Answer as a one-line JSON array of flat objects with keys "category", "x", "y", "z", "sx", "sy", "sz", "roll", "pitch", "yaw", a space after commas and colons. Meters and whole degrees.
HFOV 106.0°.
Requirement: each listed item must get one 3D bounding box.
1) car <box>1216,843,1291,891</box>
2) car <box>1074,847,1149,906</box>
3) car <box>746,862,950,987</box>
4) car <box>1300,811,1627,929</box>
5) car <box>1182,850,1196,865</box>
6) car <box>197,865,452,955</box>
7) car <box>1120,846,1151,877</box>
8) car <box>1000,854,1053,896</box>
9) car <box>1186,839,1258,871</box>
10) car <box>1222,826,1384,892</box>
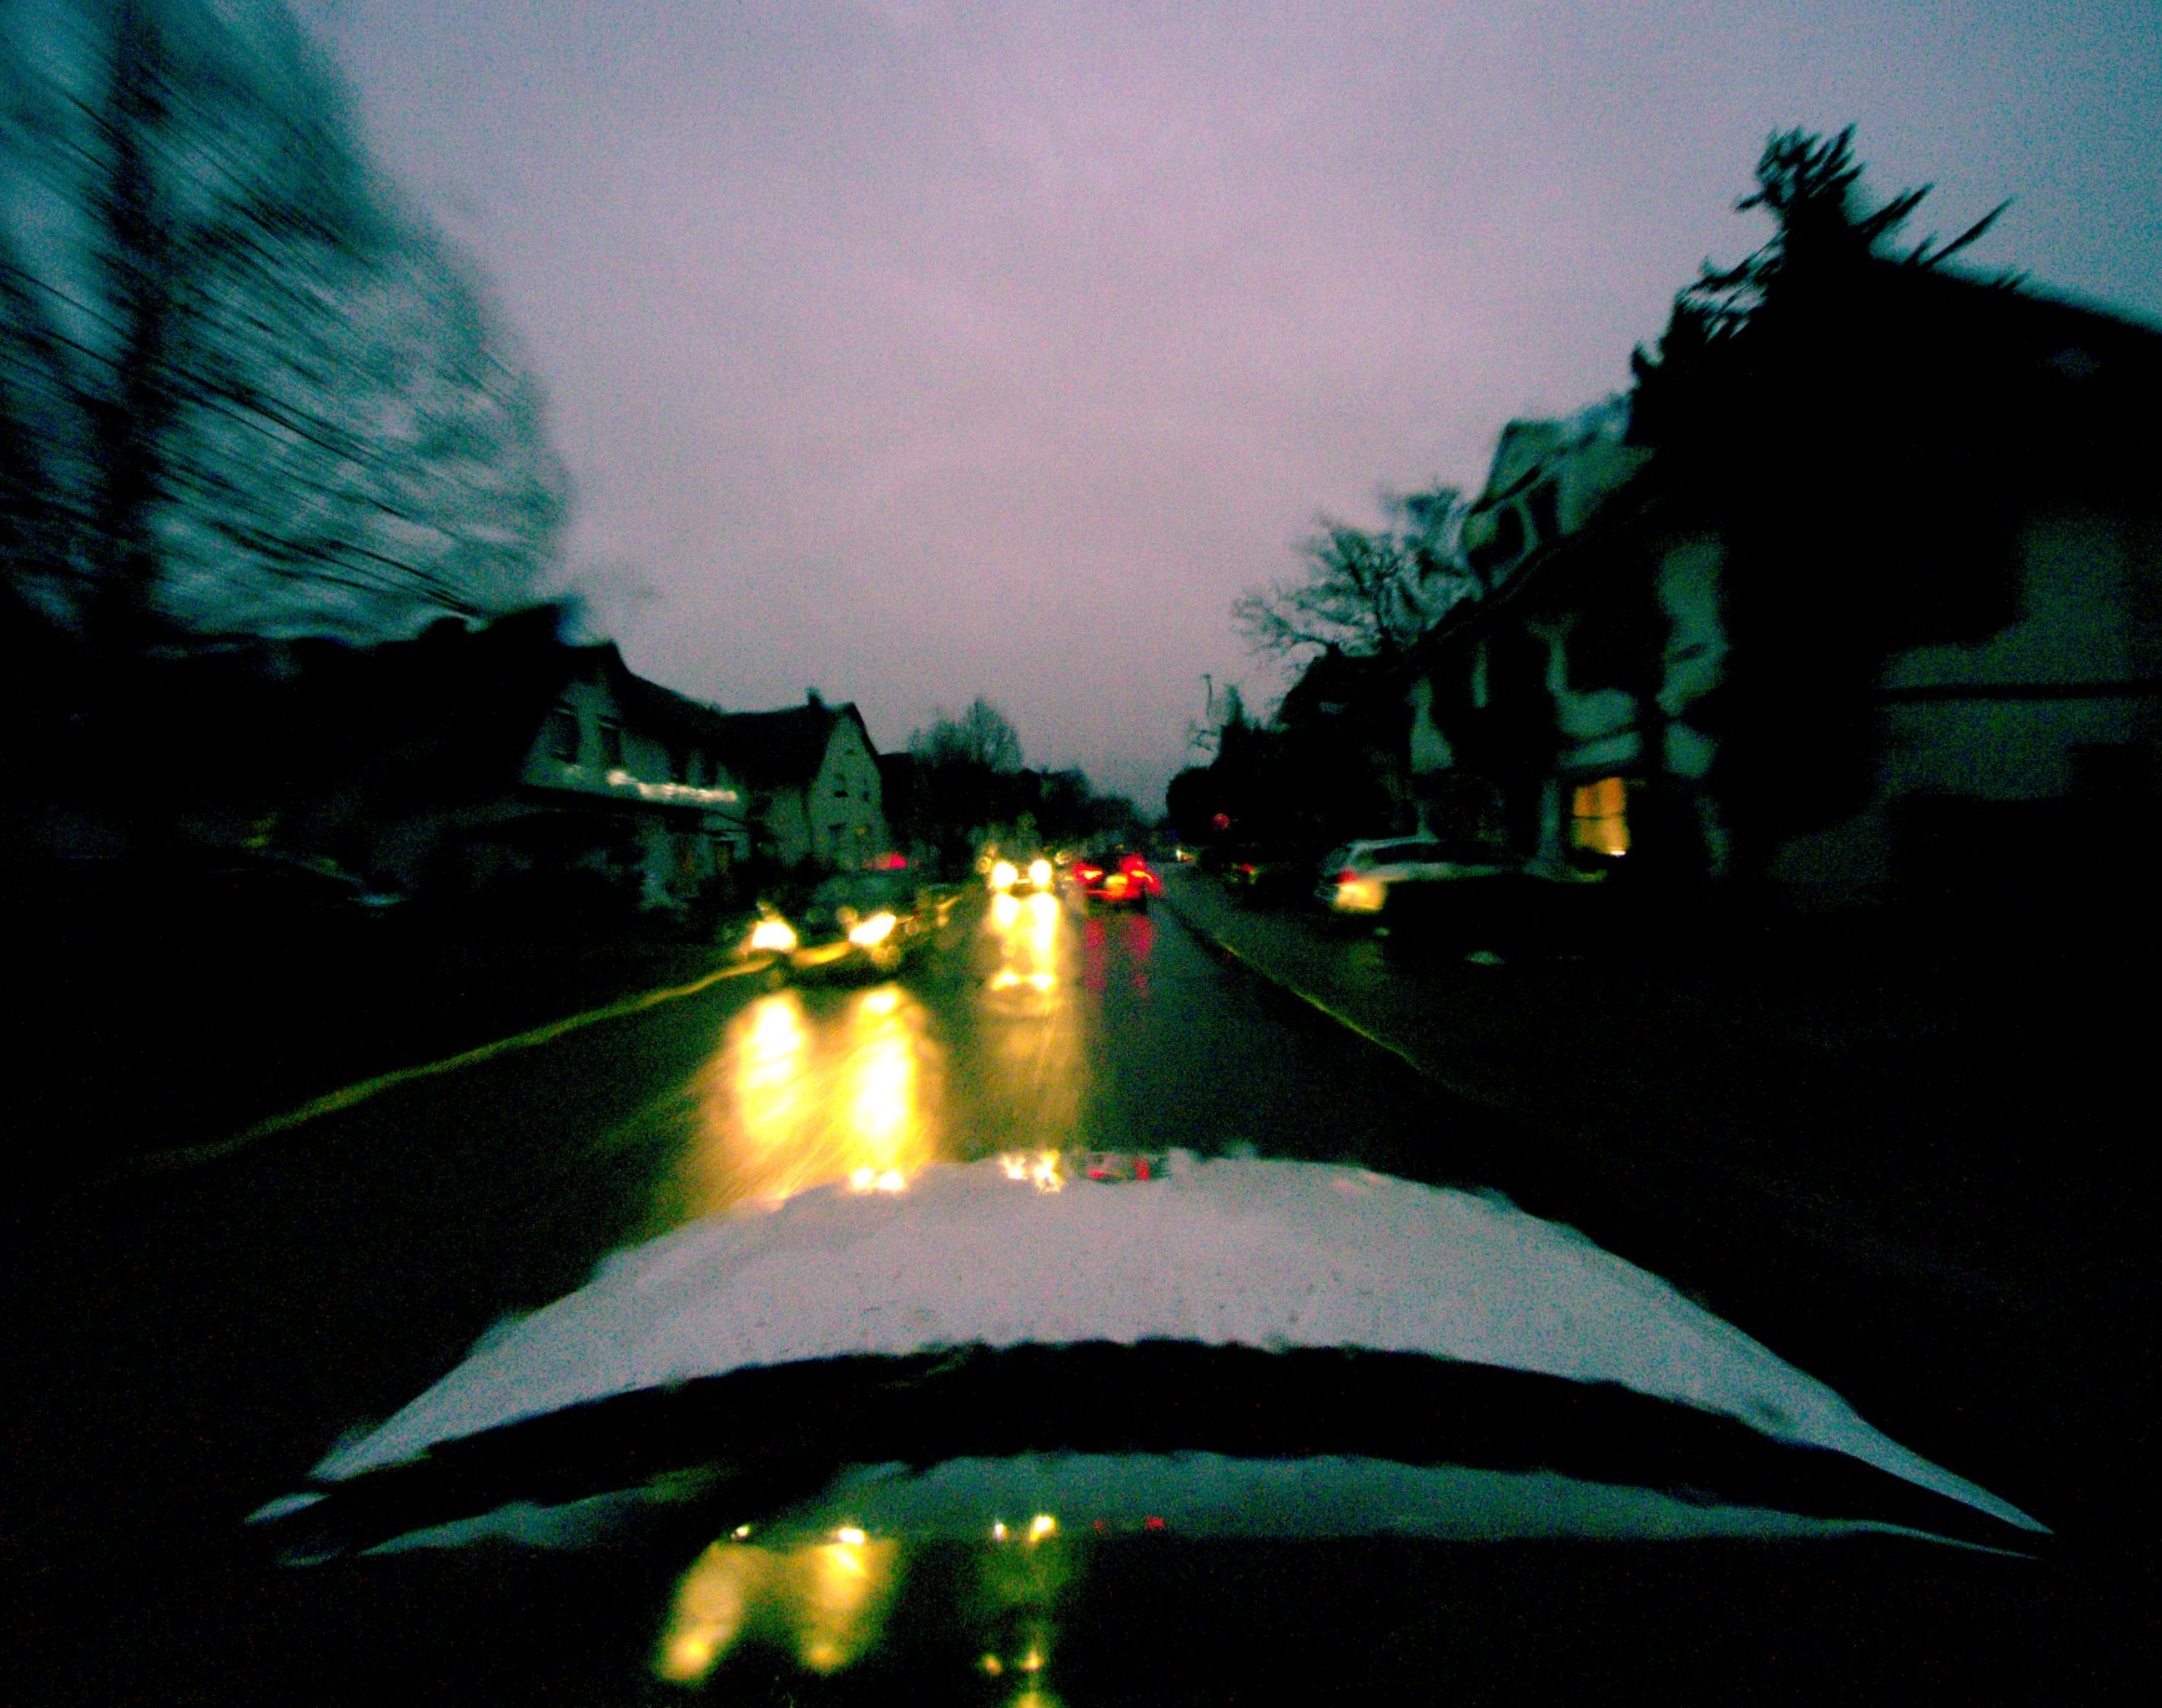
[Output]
[{"category": "car", "x": 6.171, "y": 0.422, "z": 29.669, "sx": 1.885, "sy": 1.554, "sz": 4.759, "roll": -2, "pitch": 0, "yaw": 3}, {"category": "car", "x": 0.853, "y": 0.607, "z": 23.874, "sx": 1.986, "sy": 1.525, "sz": 4.001, "roll": -1, "pitch": 0, "yaw": 1}, {"category": "car", "x": -3.332, "y": 0.925, "z": 12.611, "sx": 1.698, "sy": 1.441, "sz": 4.426, "roll": -4, "pitch": 0, "yaw": 1}, {"category": "car", "x": 6.397, "y": 0.268, "z": 14.137, "sx": 4.709, "sy": 1.629, "sz": 1.910, "roll": -4, "pitch": 0, "yaw": 6}, {"category": "car", "x": 15.604, "y": 0.512, "z": 117.830, "sx": 1.983, "sy": 2.013, "sz": 4.008, "roll": -3, "pitch": 0, "yaw": 7}, {"category": "car", "x": -17.475, "y": 1.268, "z": 18.903, "sx": 4.524, "sy": 1.800, "sz": 1.917, "roll": -2, "pitch": 0, "yaw": 9}, {"category": "car", "x": 3.715, "y": 0.515, "z": 55.347, "sx": 1.984, "sy": 2.014, "sz": 4.005, "roll": -1, "pitch": 0, "yaw": 4}, {"category": "car", "x": -2.322, "y": 0.866, "z": 35.729, "sx": 1.807, "sy": 1.633, "sz": 4.226, "roll": -3, "pitch": 0, "yaw": 2}, {"category": "car", "x": 9.162, "y": 0.078, "z": 53.152, "sx": 4.305, "sy": 1.732, "sz": 2.002, "roll": -5, "pitch": 0, "yaw": 2}, {"category": "car", "x": 6.255, "y": 0.151, "z": 23.342, "sx": 4.087, "sy": 1.706, "sz": 2.001, "roll": -2, "pitch": -1, "yaw": 1}]
